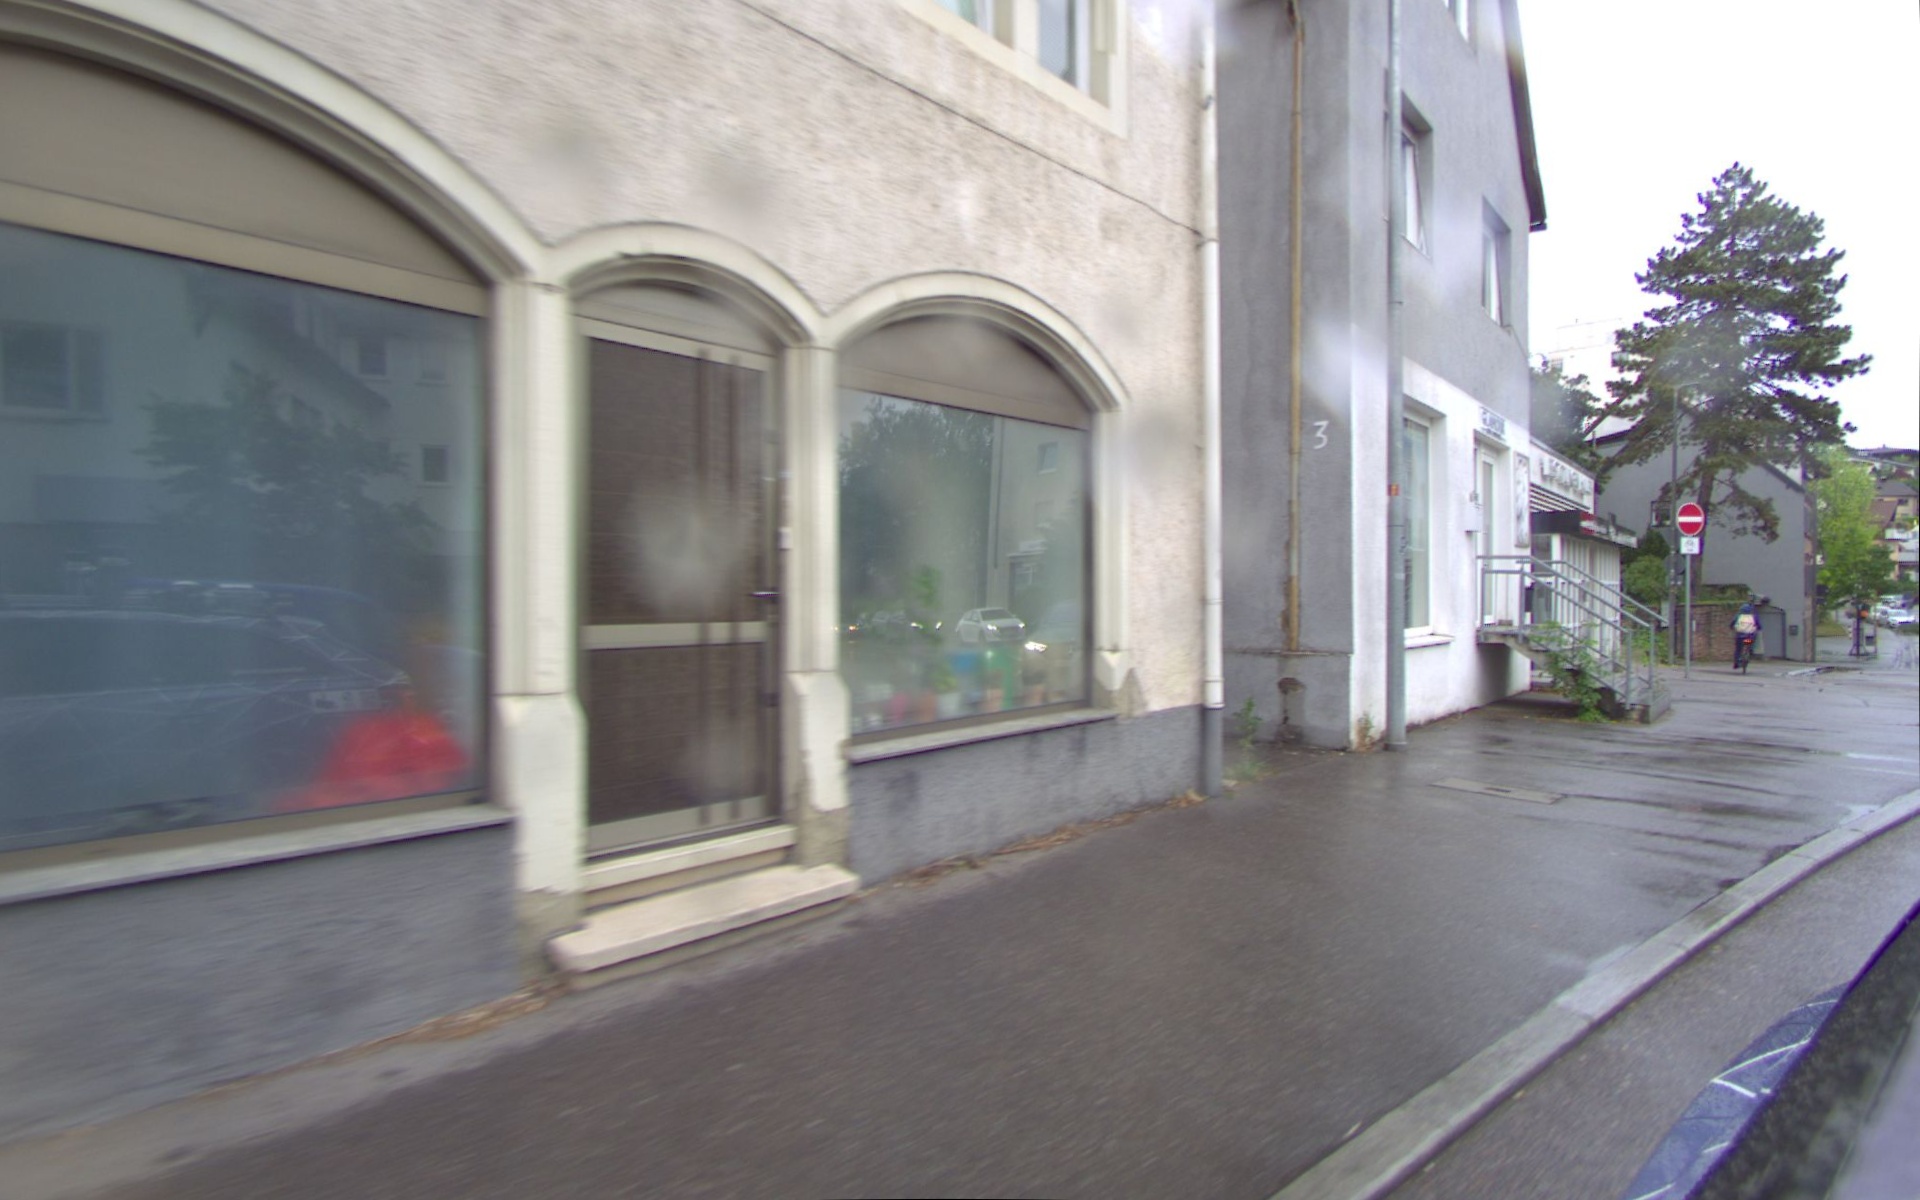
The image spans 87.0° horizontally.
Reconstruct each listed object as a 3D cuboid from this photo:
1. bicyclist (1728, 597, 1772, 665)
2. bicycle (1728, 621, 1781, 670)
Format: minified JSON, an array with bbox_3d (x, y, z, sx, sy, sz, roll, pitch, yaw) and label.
[{"bbox_3d":[18.449,0.715,23.657,0.680,1.537,1.019,1,0,31],"label":"bicyclist"},{"bbox_3d":[18.461,1.034,23.550,0.758,1.048,2.056,1,-1,32],"label":"bicycle"}]
